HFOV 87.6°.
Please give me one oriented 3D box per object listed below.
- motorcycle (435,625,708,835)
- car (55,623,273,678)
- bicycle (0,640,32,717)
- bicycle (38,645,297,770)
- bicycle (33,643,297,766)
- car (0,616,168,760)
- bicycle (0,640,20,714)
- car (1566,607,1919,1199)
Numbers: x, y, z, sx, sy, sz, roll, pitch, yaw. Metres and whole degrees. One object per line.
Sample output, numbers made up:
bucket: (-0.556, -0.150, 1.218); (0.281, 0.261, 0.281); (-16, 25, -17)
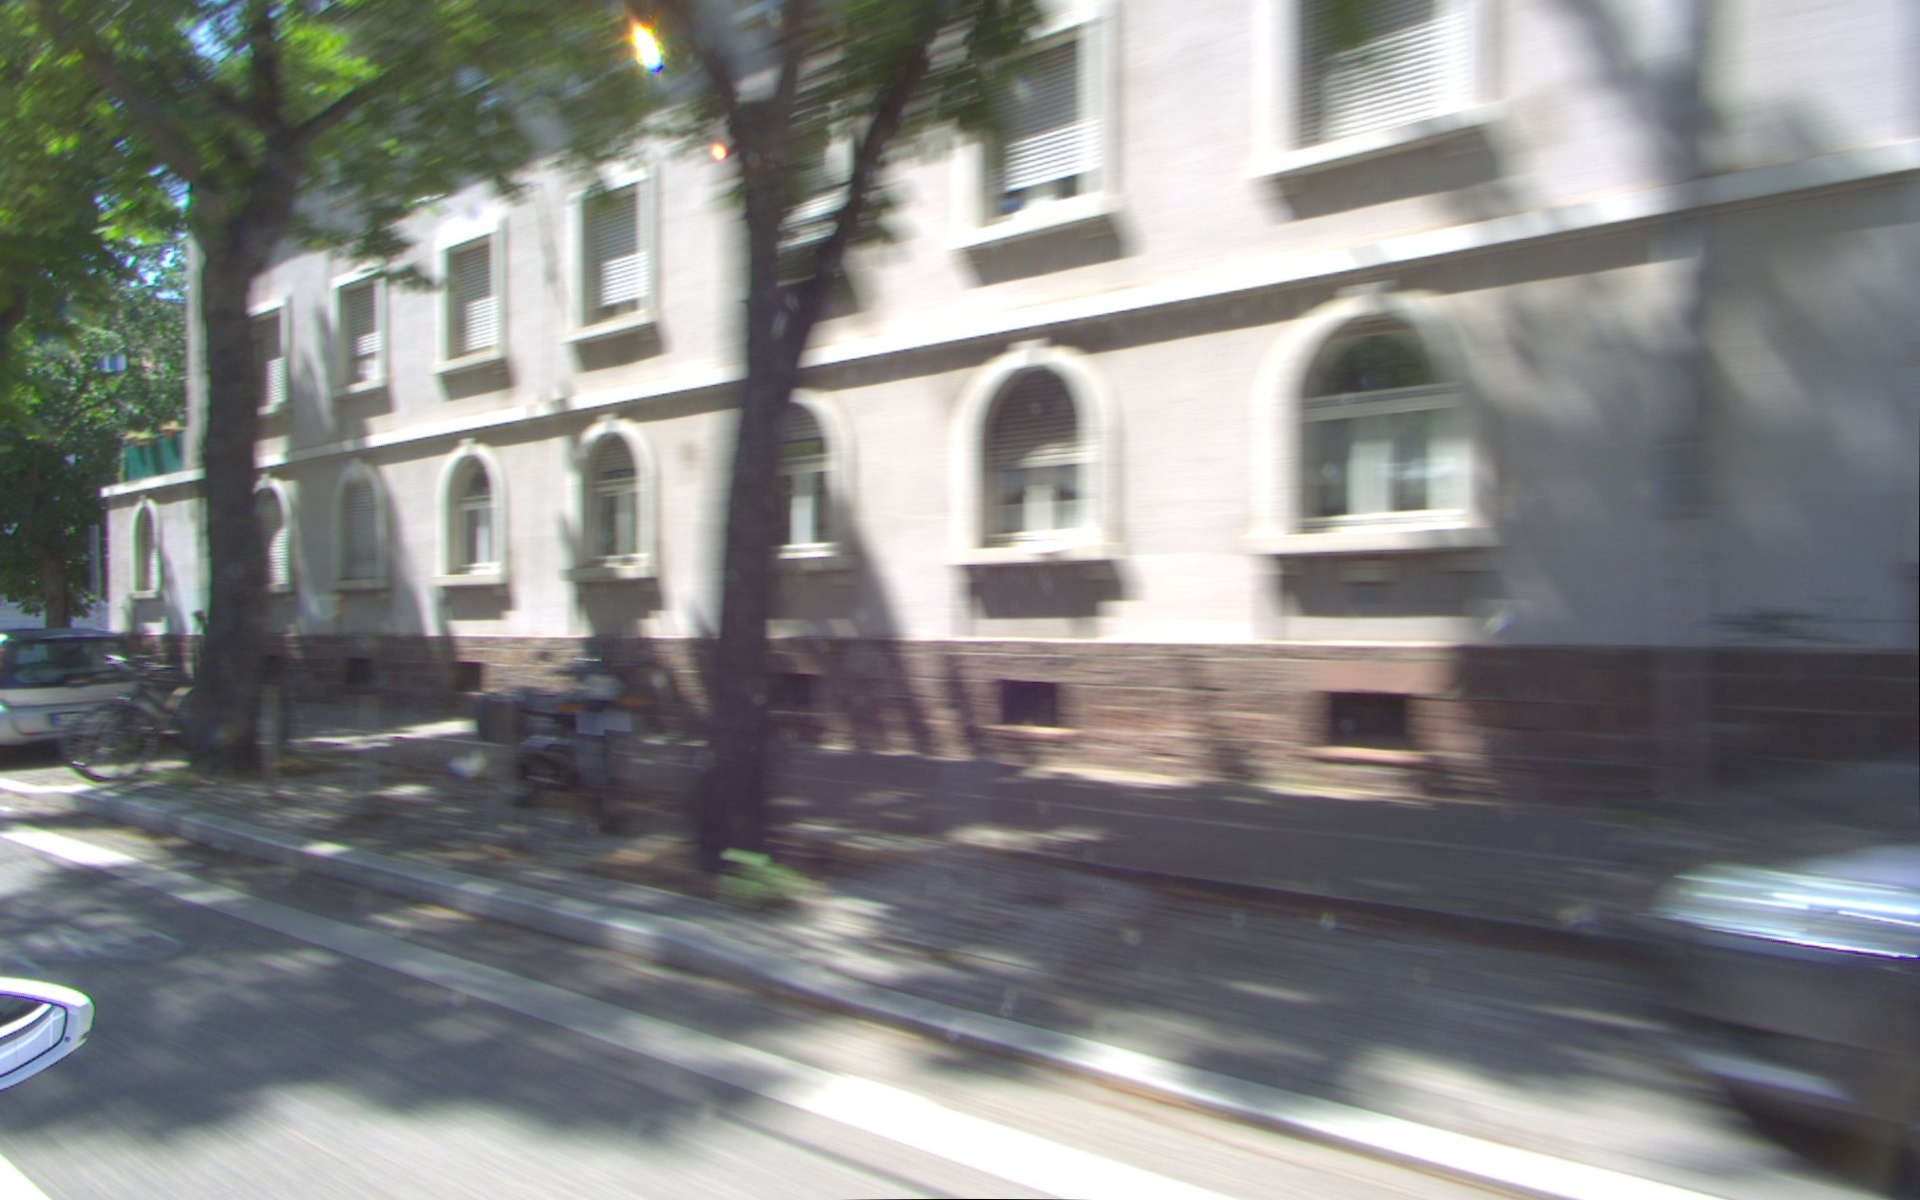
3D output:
motorcycle: (-2.959, 0.846, 7.469); (2.353, 1.316, 0.991); (-1, -1, 43)
car: (-22.454, 1.396, 28.512); (4.631, 1.455, 1.729); (1, -1, -31)
bicycle: (-14.862, 1.176, 14.541); (0.590, 1.127, 1.958); (-2, -1, 34)
bicycle: (-7.531, 0.972, 9.612); (0.531, 1.065, 1.882); (-1, -2, 39)
bicycle: (-7.748, 0.971, 9.856); (0.591, 1.077, 1.955); (-1, -2, 39)
car: (-11.311, 0.975, 12.045); (3.756, 1.467, 1.618); (-1, 1, 32)
bicycle: (-15.380, 1.182, 14.856); (0.631, 1.127, 2.005); (-2, -1, 34)
car: (3.976, 0.776, 2.453); (4.242, 1.521, 1.771); (0, 0, 32)
